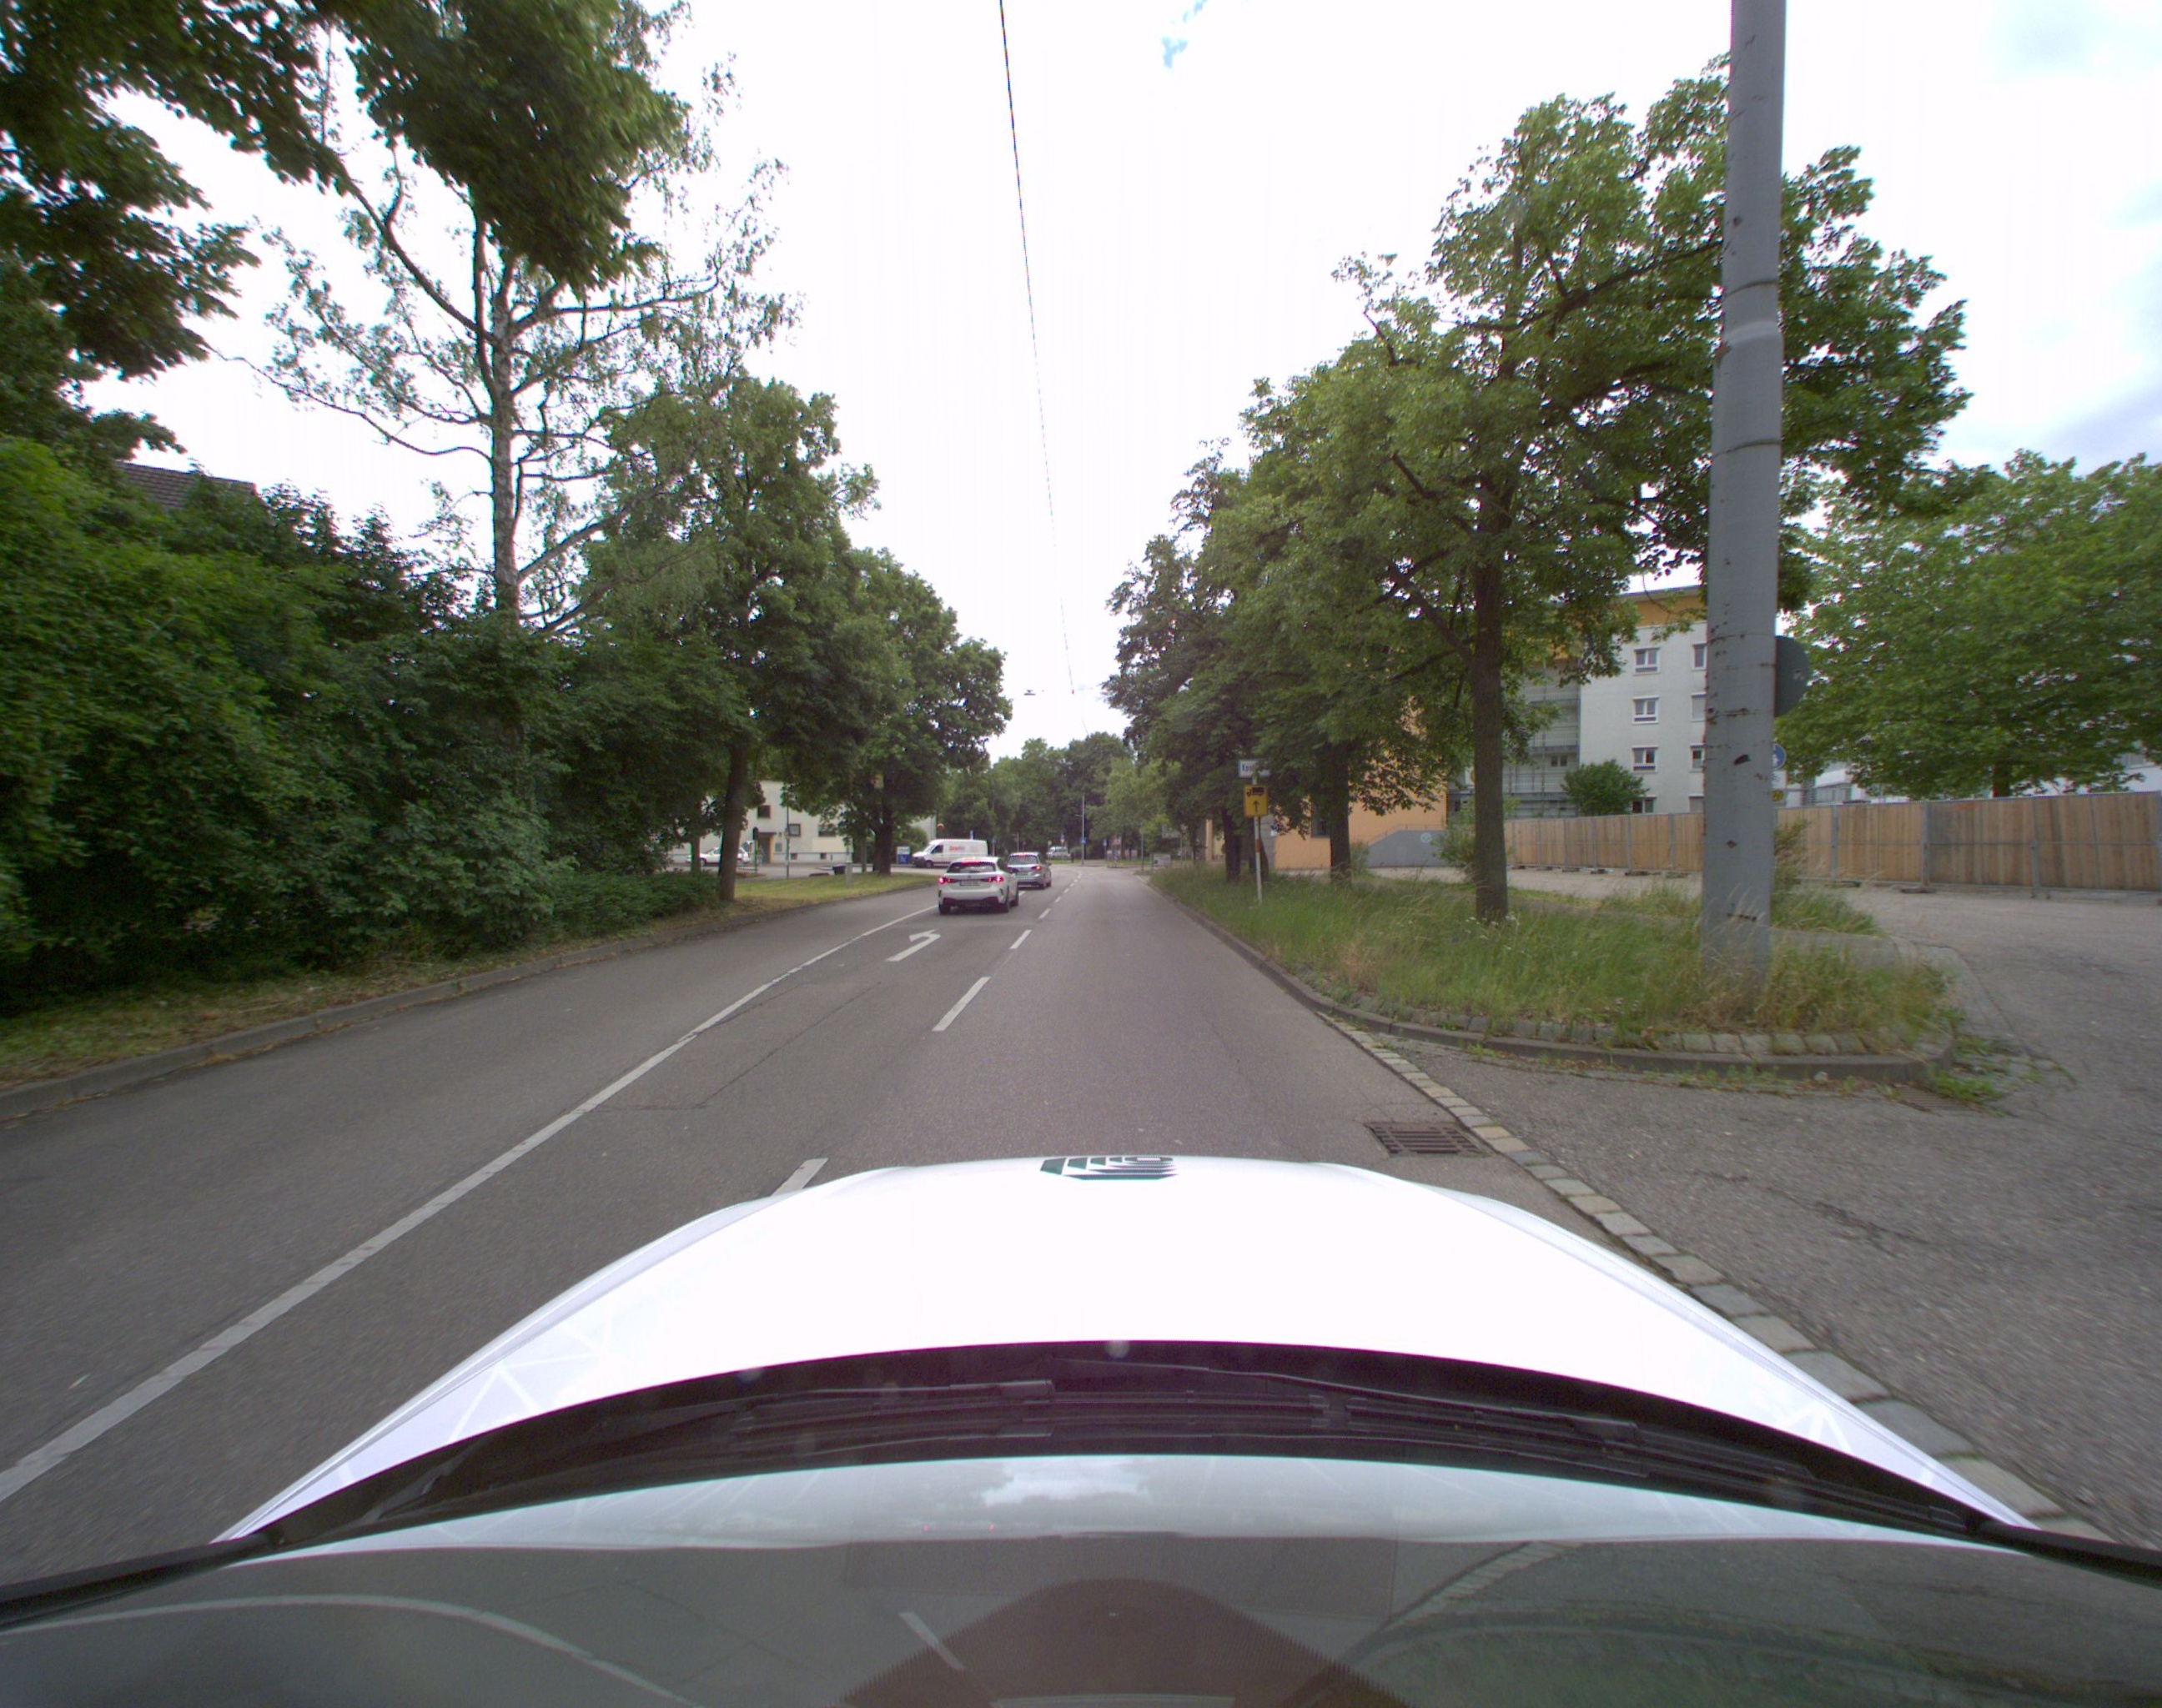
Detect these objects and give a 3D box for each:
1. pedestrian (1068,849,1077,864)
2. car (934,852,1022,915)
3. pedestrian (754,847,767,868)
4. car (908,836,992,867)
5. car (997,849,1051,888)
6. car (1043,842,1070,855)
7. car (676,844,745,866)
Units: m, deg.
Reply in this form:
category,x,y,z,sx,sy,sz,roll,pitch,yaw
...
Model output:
category,x,y,z,sx,sy,sz,roll,pitch,yaw
pedestrian,-1.099,0.341,104.279,0.921,1.871,1.018,-3,3,-3
car,-2.731,0.731,22.487,1.789,1.517,4.207,-2,0,1
pedestrian,-25.010,0.272,63.522,0.753,1.534,0.708,2,1,-38
car,-11.356,-0.166,70.897,7.011,2.521,2.062,1,2,-36
car,-2.388,0.590,35.278,1.916,1.574,4.002,0,1,2
car,-4.897,-1.062,162.251,2.111,2.297,5.419,4,1,40
car,-27.503,0.053,60.567,4.337,1.440,1.702,2,1,-38
